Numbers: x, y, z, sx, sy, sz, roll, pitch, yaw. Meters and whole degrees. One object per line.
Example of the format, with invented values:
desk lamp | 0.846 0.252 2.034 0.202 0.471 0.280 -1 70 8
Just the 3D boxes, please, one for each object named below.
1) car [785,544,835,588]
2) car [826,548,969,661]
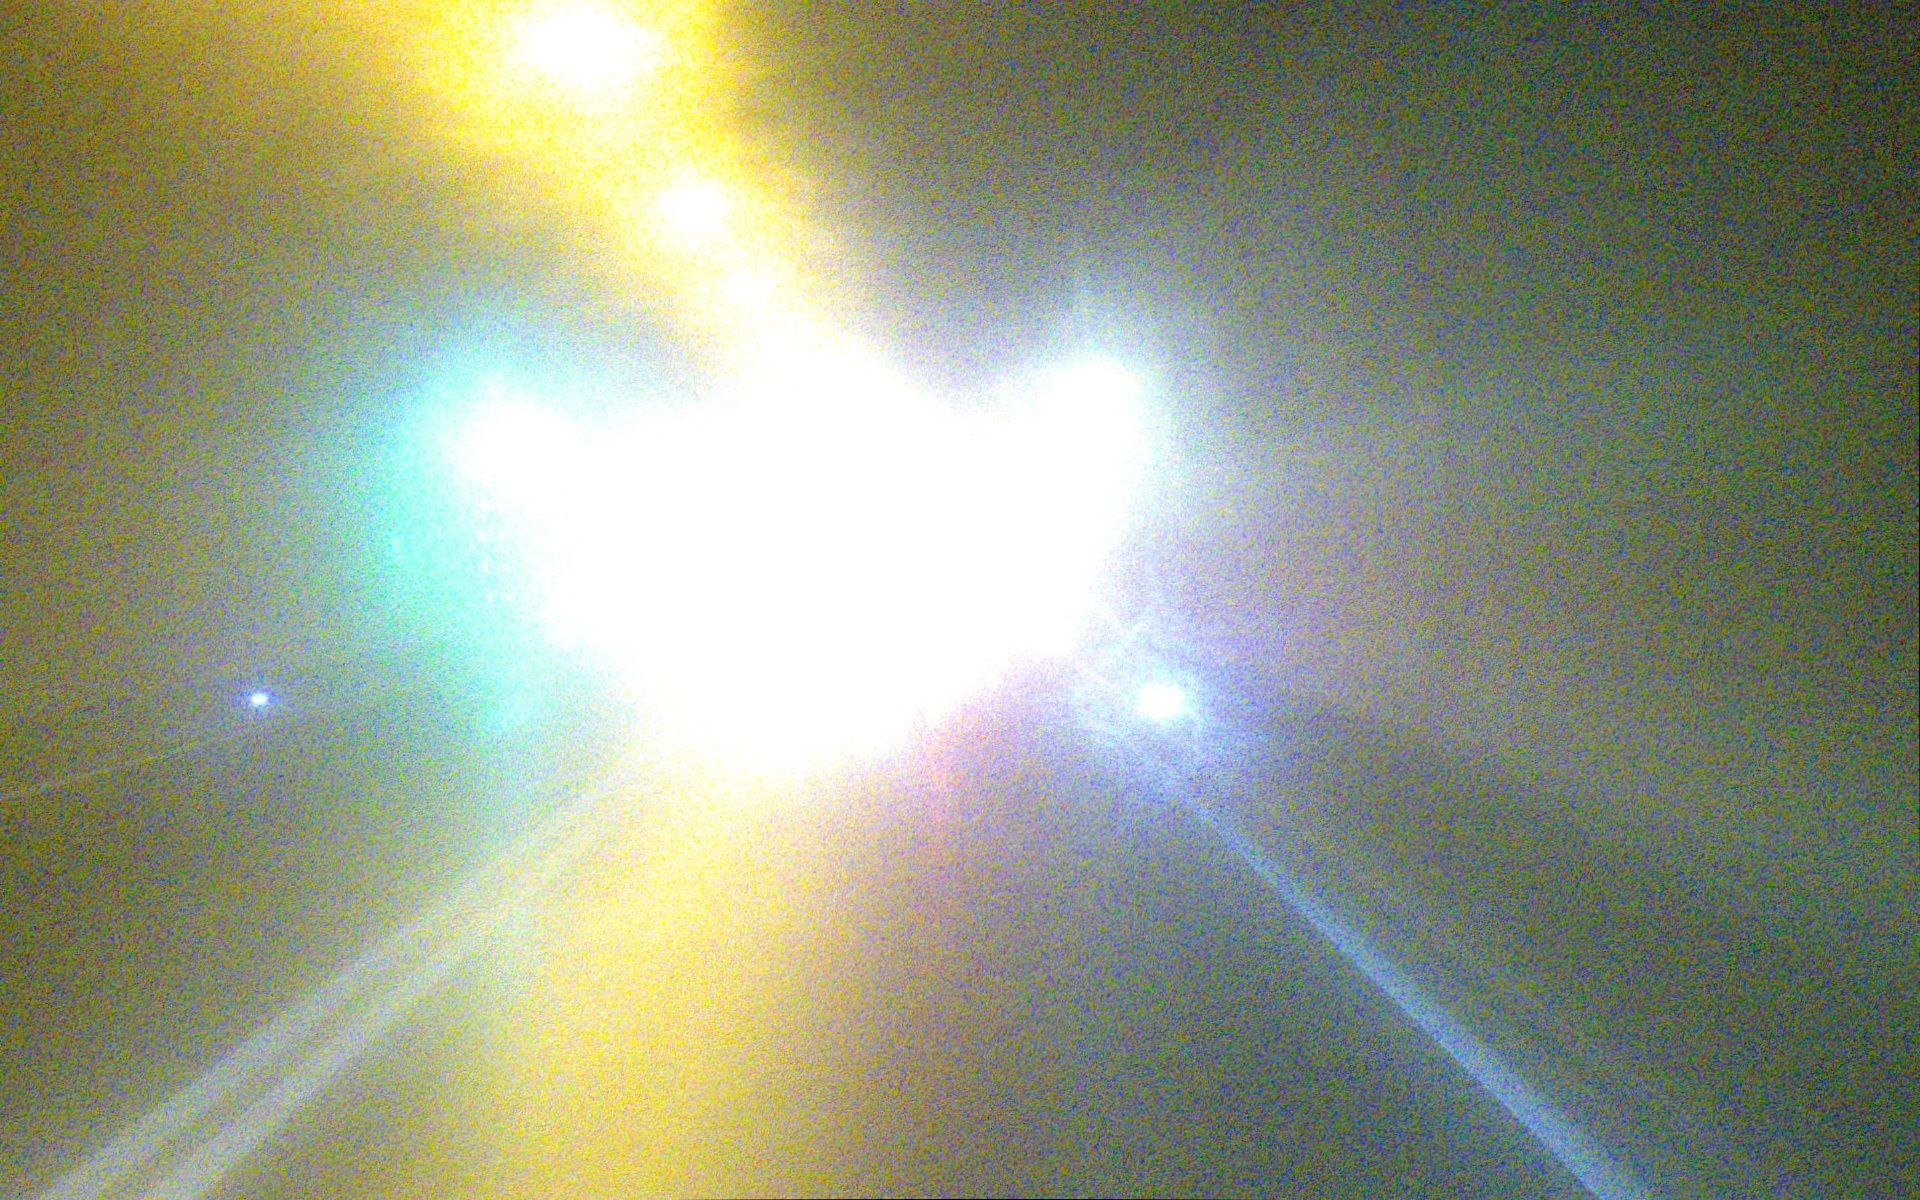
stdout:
car | -5.269 -1.203 121.192 1.690 1.500 3.745 0 1 -2
car | -0.965 0.048 52.463 2.089 1.656 4.000 0 0 -1
